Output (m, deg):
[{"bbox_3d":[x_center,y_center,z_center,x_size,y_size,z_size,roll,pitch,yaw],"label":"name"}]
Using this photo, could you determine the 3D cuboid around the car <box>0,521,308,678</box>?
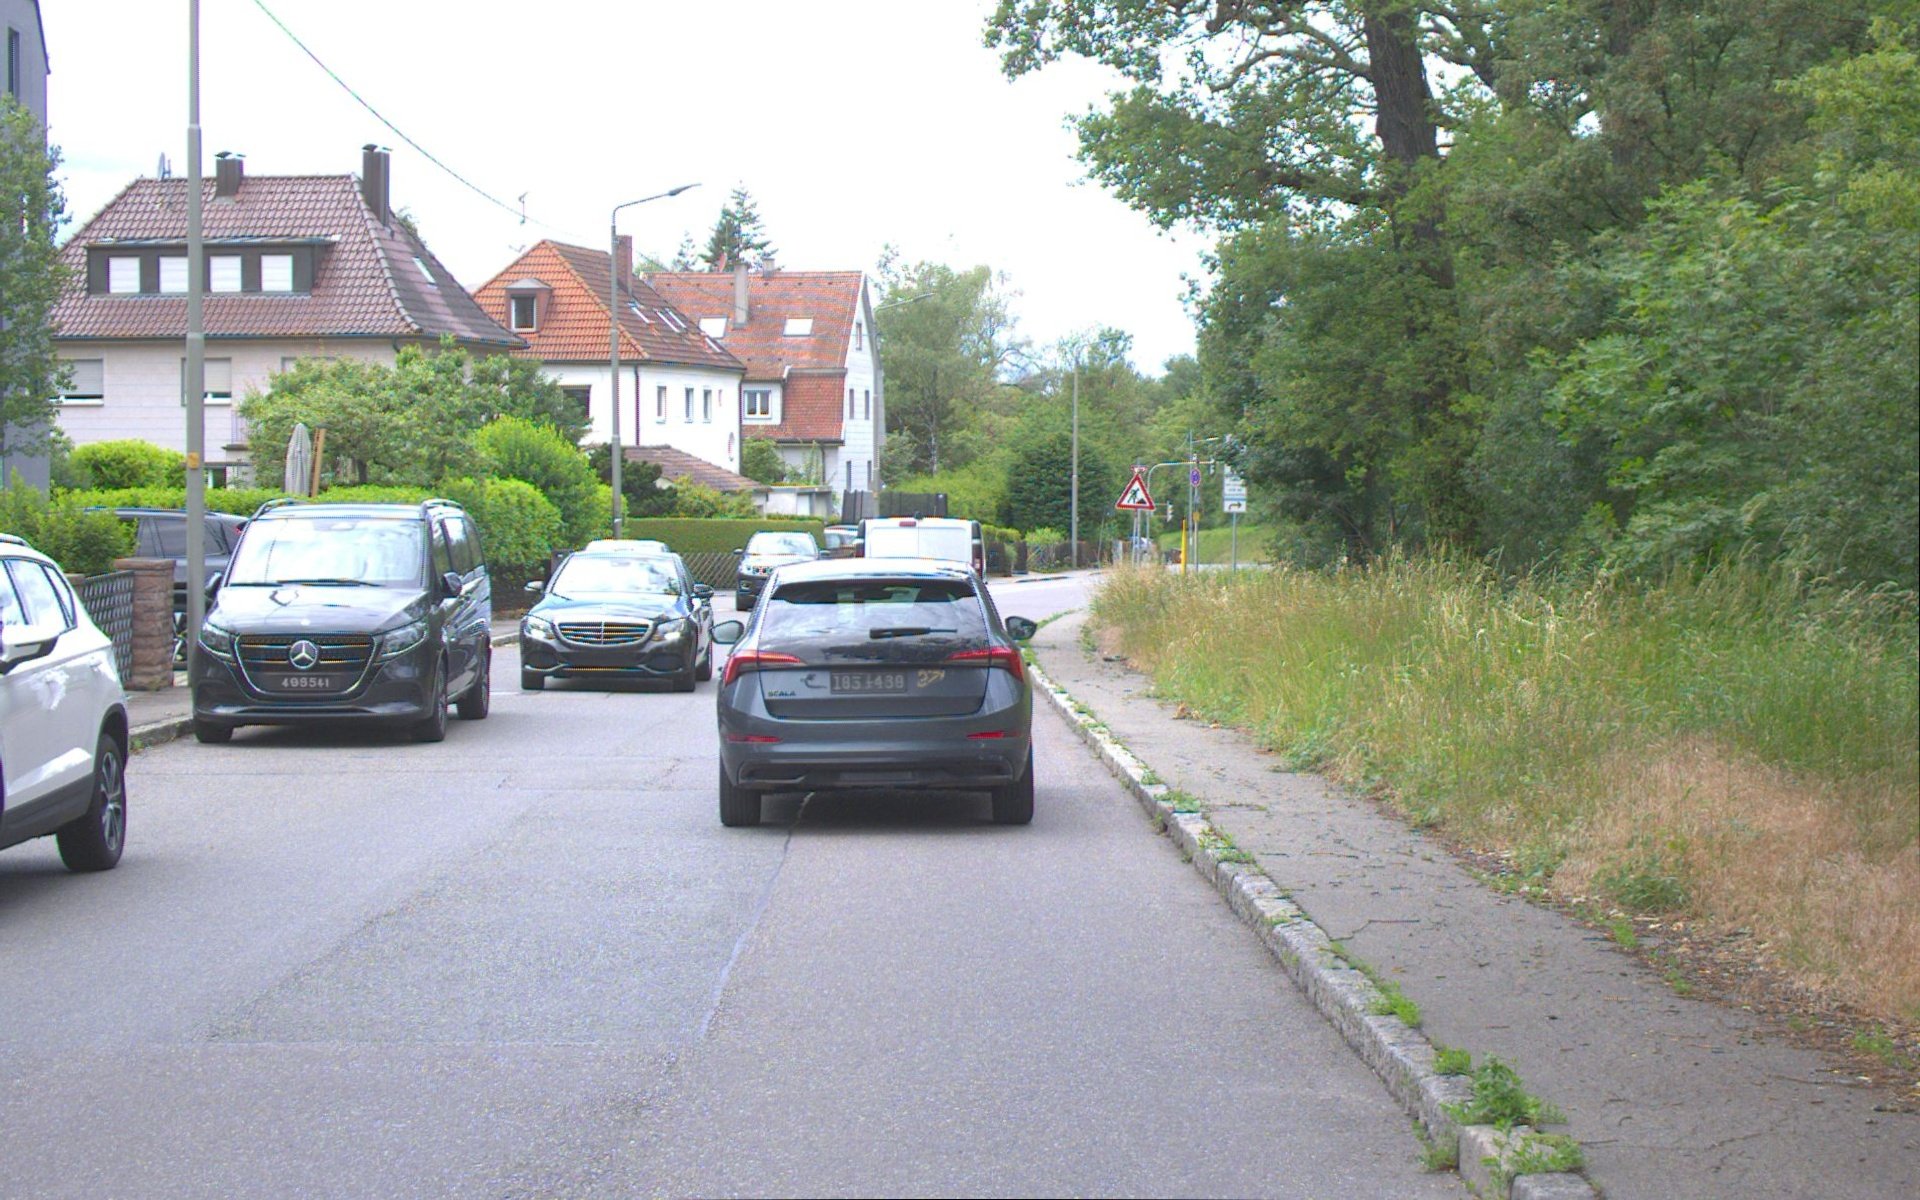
[{"bbox_3d":[-9.686,-0.021,38.124,4.615,1.691,2.000,0,1,-4],"label":"car"}]

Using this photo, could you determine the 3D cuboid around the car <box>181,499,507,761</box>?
[{"bbox_3d":[-4.951,0.189,28.291,1.863,1.919,5.038,1,1,-1],"label":"car"}]

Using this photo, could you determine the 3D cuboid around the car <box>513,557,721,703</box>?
[{"bbox_3d":[-3.621,0.274,36.959,1.863,1.409,4.592,1,1,-1],"label":"car"}]

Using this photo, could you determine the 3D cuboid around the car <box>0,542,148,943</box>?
[{"bbox_3d":[-4.901,0.598,14.941,1.838,1.643,4.186,-2,1,-2],"label":"car"}]

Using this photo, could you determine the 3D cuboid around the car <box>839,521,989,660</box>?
[{"bbox_3d":[-0.697,-0.177,50.682,2.071,1.915,4.923,1,1,-1],"label":"car"}]

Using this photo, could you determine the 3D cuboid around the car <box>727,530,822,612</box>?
[{"bbox_3d":[-3.847,-0.631,71.784,1.833,1.591,4.324,1,2,-1],"label":"car"}]

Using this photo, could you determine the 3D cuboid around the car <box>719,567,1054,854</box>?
[{"bbox_3d":[-0.513,0.557,20.097,1.727,1.434,4.324,1,1,-3],"label":"car"}]

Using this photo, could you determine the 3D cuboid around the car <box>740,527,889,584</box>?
[{"bbox_3d":[-4.188,-1.295,99.275,3.988,1.612,1.999,0,1,8],"label":"car"}]
